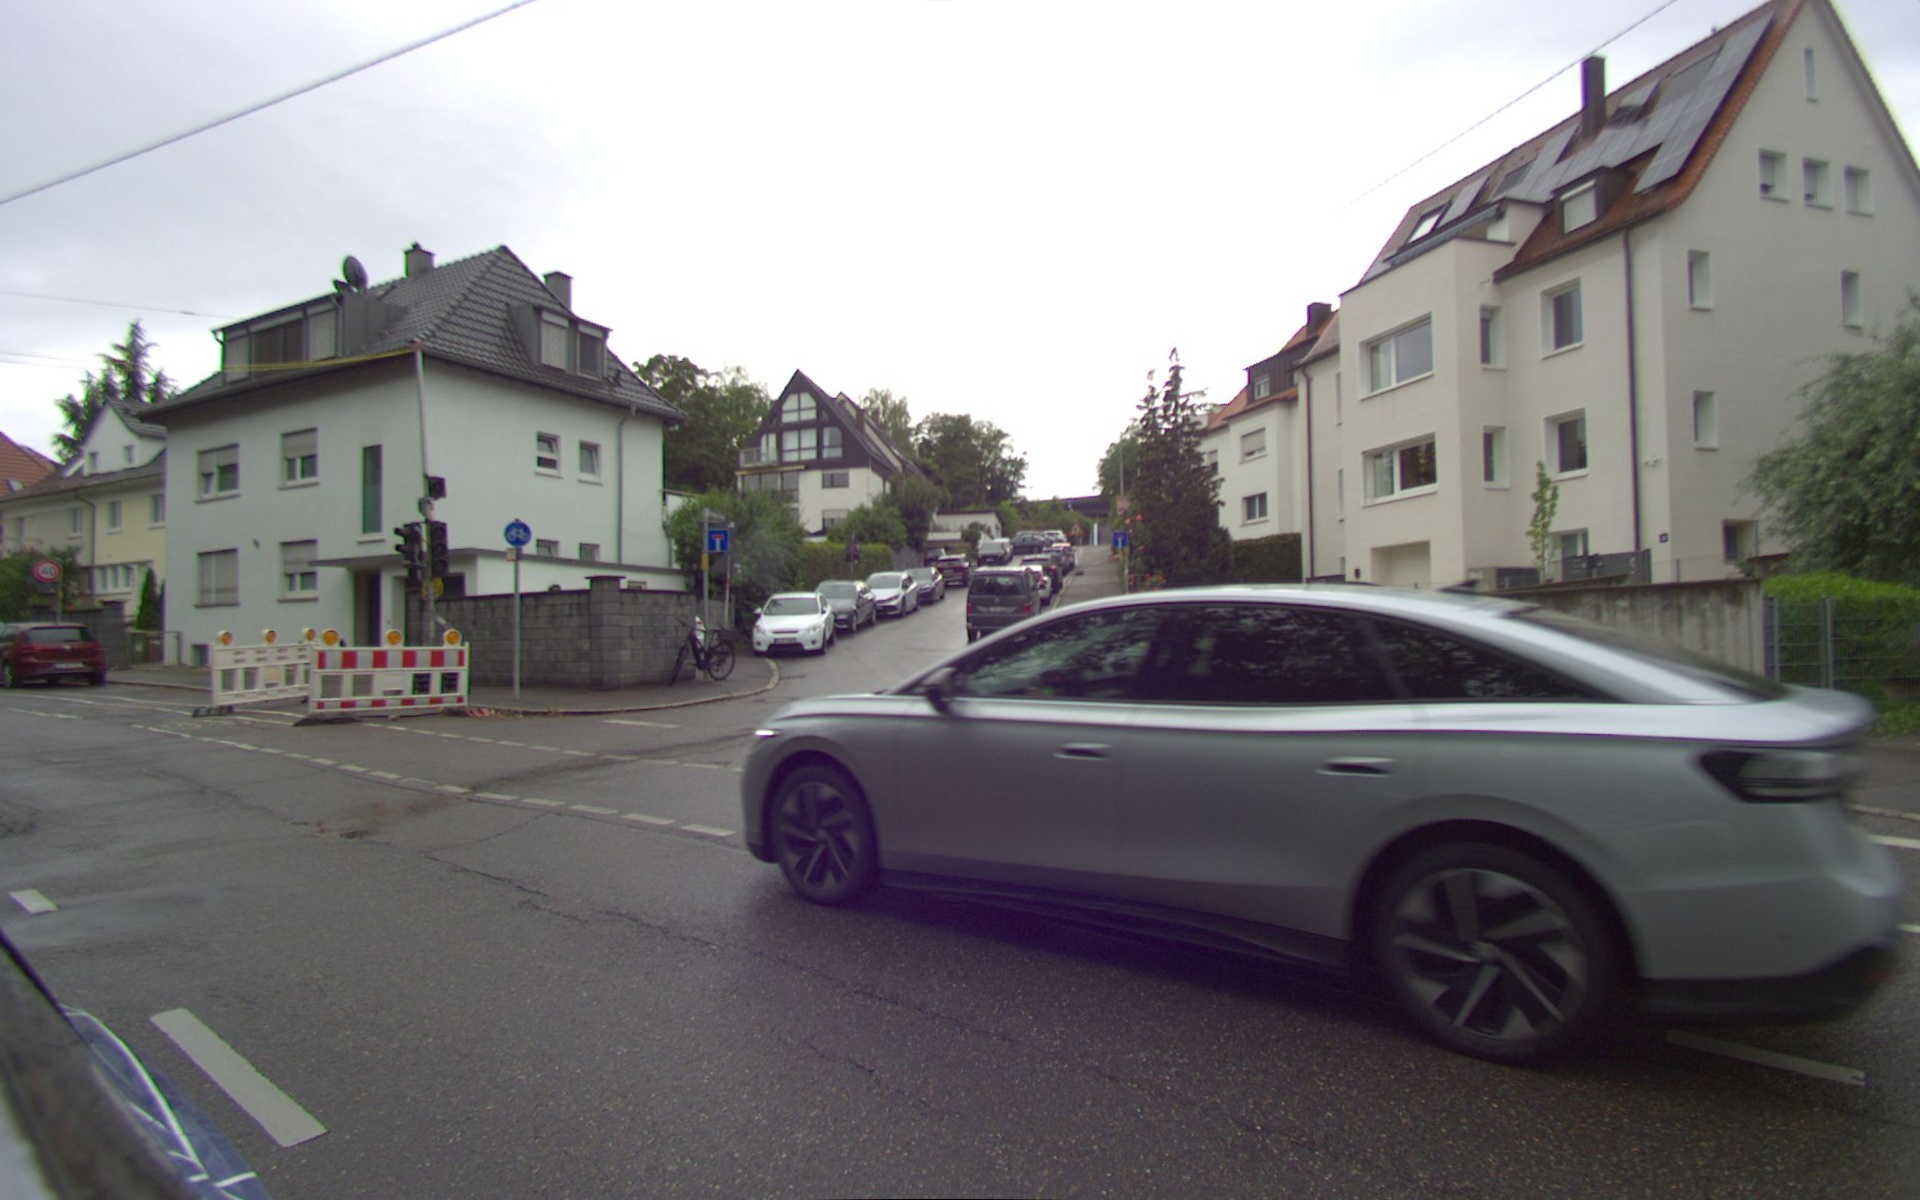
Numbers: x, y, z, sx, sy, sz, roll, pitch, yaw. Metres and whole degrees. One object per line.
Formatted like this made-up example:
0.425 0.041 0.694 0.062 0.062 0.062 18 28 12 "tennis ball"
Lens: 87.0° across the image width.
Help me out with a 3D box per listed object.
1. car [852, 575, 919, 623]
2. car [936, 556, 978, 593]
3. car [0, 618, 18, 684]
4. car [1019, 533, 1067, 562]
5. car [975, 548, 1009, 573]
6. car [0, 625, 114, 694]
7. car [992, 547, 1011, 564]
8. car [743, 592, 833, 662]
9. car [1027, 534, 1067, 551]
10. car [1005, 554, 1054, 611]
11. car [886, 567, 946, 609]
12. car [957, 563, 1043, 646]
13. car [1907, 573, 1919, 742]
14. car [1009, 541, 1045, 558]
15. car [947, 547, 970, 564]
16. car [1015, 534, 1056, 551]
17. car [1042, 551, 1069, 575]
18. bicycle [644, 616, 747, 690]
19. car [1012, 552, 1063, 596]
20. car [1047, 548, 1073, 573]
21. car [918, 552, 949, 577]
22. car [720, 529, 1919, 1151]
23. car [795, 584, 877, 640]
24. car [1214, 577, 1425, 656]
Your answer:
-2.658 -0.081 37.087 1.738 1.481 3.940 -1 4 6 "car"
-0.114 -1.357 52.465 1.623 1.637 3.992 -1 5 8 "car"
-26.154 1.318 25.775 4.131 1.653 1.782 -1 -1 25 "car"
7.204 -4.553 87.643 3.954 2.028 1.995 -5 -1 8 "car"
2.196 -2.663 68.886 1.770 1.531 4.016 -1 0 9 "car"
-21.470 1.335 23.383 3.833 1.443 1.768 -1 -1 30 "car"
3.059 -3.319 74.711 1.292 1.206 2.980 -1 3 5 "car"
-4.355 0.628 26.156 1.827 1.473 4.124 -1 3 -3 "car"
8.941 -5.890 103.915 3.782 1.529 1.664 -1 -1 15 "car"
2.819 -0.749 40.324 1.686 1.843 4.194 -1 6 7 "car"
-1.807 -0.549 42.960 1.903 1.448 4.100 -1 5 7 "car"
1.241 0.054 29.325 1.978 2.028 4.482 -1 4 9 "car"
10.603 0.426 8.549 3.934 1.497 1.780 -2 -1 -12 "car"
5.554 -4.190 83.654 2.914 1.328 1.282 -1 0 4 "car"
-0.081 -3.252 74.022 1.559 1.220 3.650 -1 3 2 "car"
7.393 -5.580 98.789 3.922 1.528 1.748 -1 0 6 "car"
5.503 -2.137 58.112 1.274 1.325 2.984 -1 3 10 "car"
-4.787 0.934 18.458 0.508 1.249 1.984 1 0 32 "bicycle"
3.521 -1.188 45.376 1.823 1.699 4.039 -1 5 11 "car"
6.238 -2.440 62.848 1.488 1.373 3.465 -1 0 8 "car"
-1.826 -2.412 69.794 1.793 1.566 4.009 -1 0 3 "car"
1.216 0.608 4.542 4.812 1.539 1.836 -1 0 37 "car"
-3.828 0.323 31.818 1.702 1.397 3.900 -1 4 6 "car"
7.706 0.338 21.772 3.942 1.290 1.613 -5 1 -13 "car"
